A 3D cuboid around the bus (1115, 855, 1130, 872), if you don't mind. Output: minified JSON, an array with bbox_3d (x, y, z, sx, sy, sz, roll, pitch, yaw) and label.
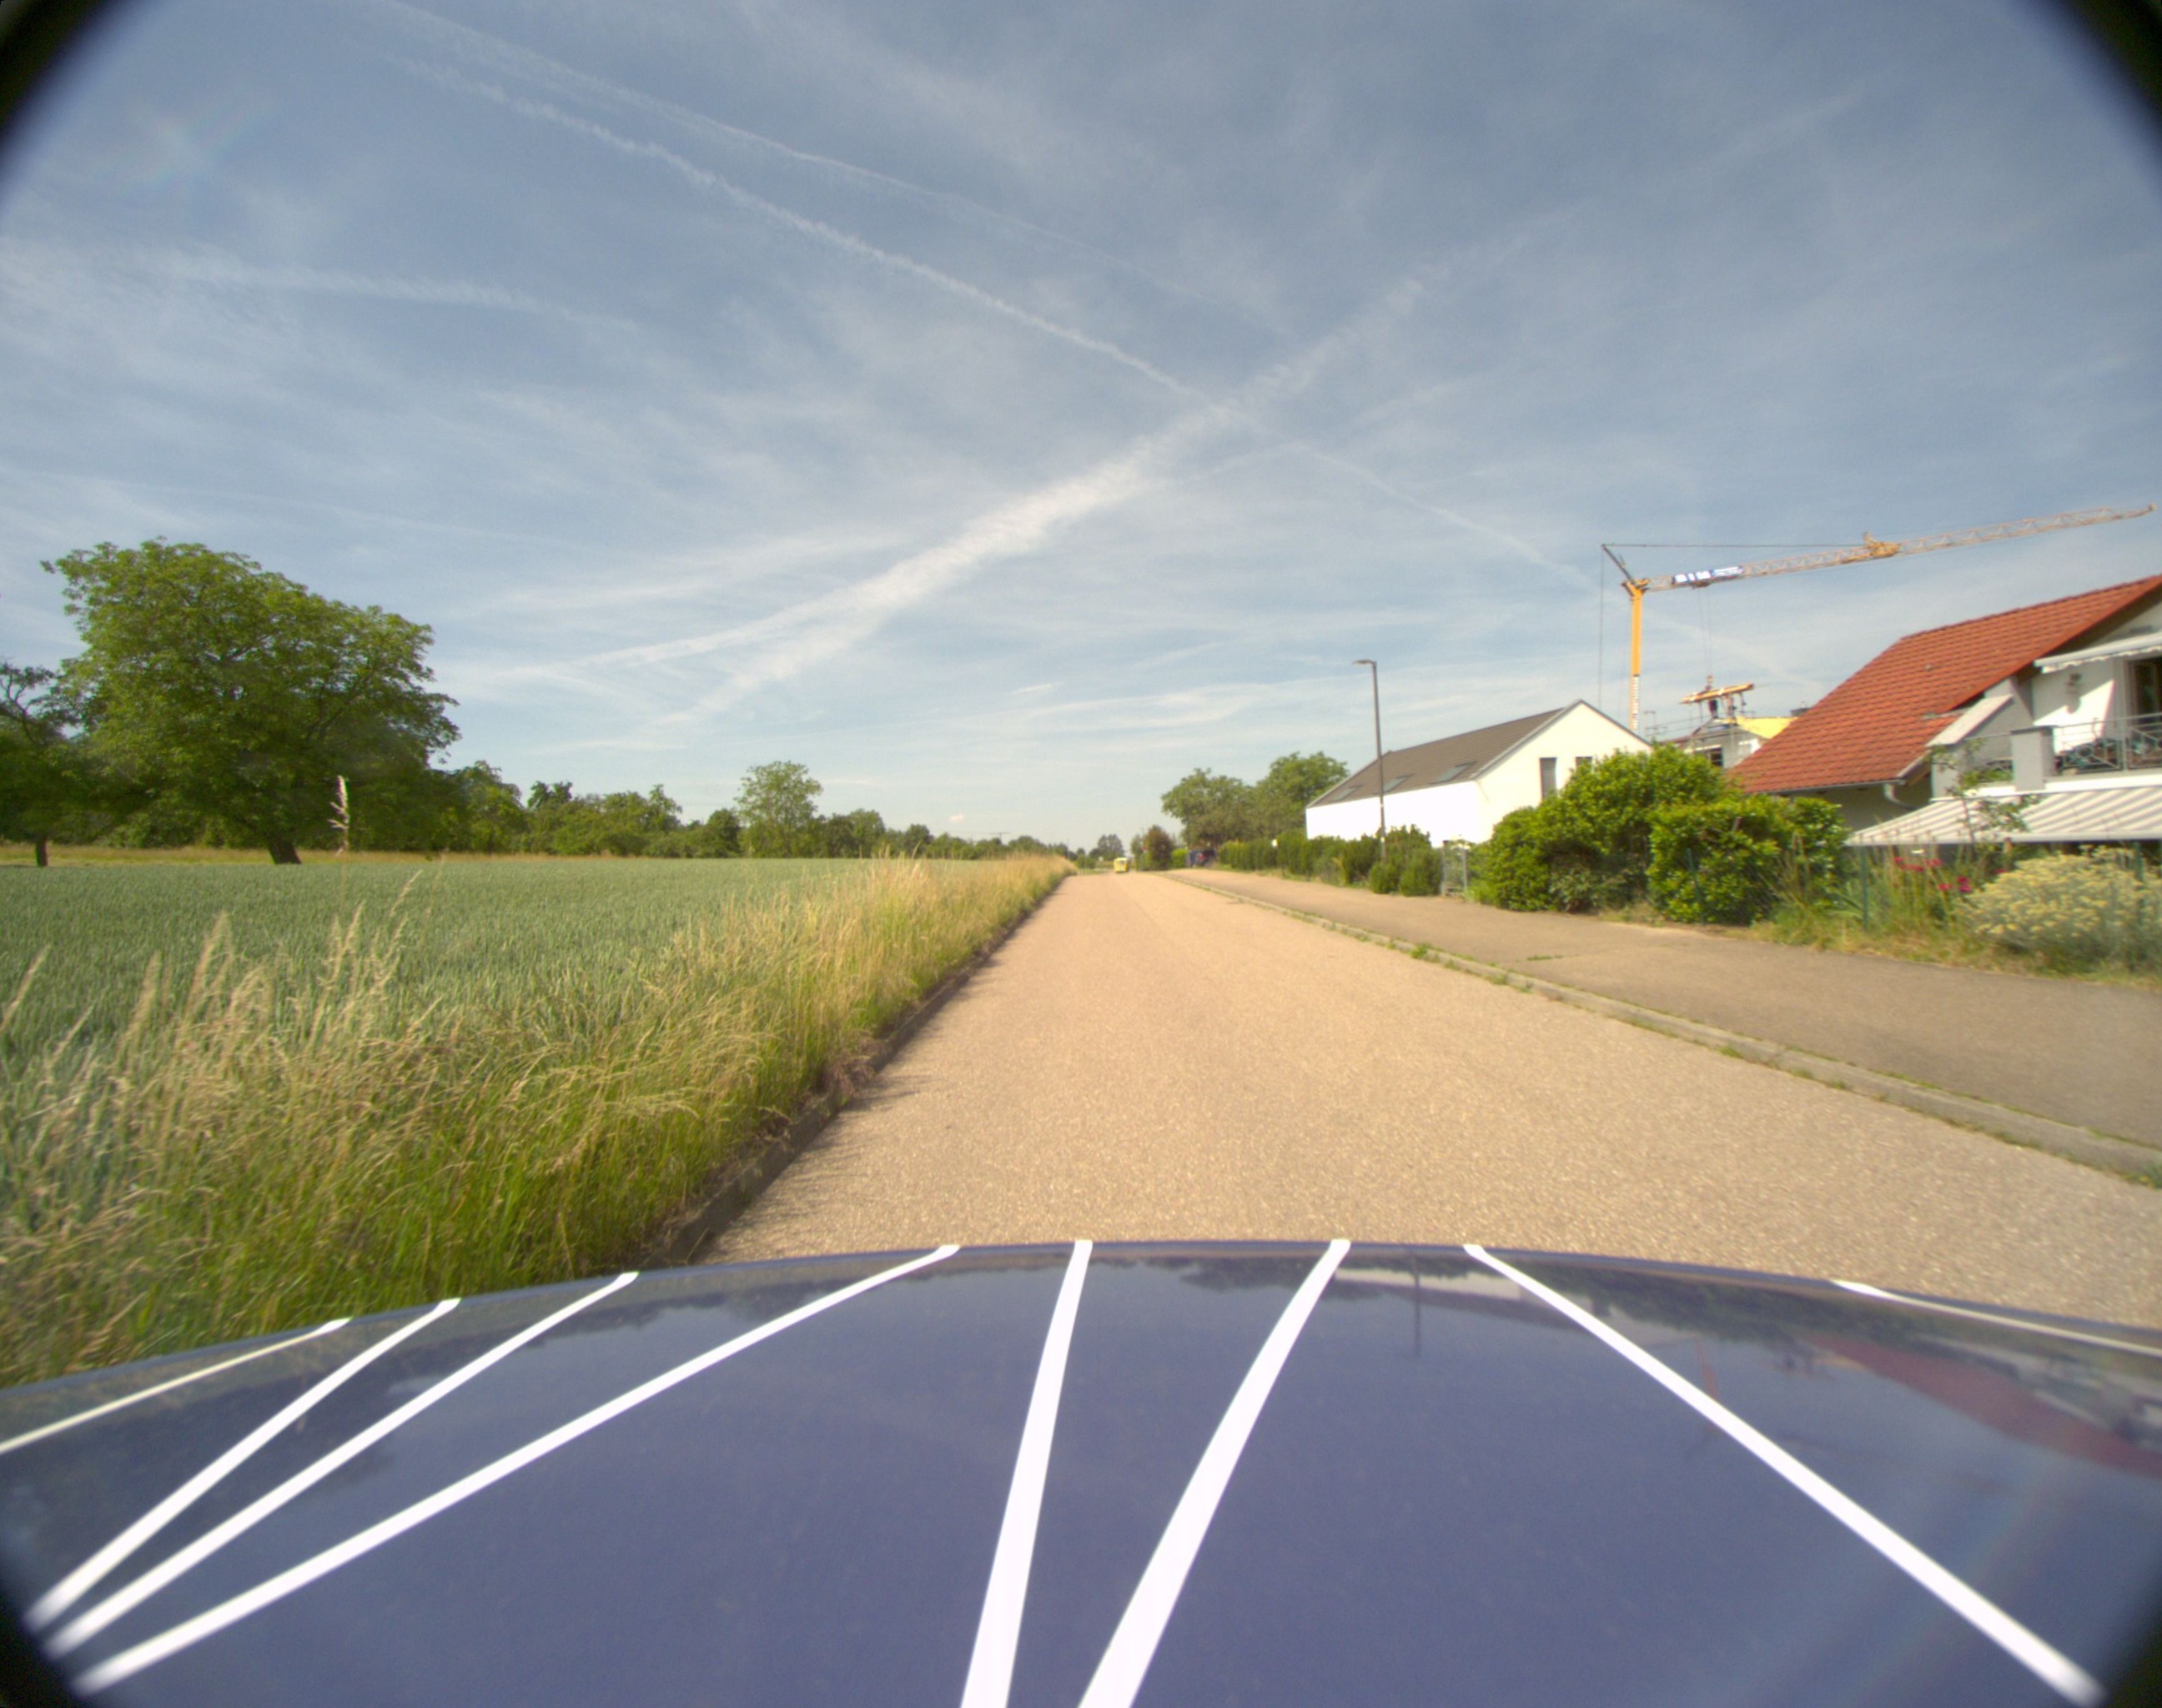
[{"bbox_3d":[9.372,2.047,169.740,3.066,3.557,9.456,-2,1,4],"label":"bus"}]

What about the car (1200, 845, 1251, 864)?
[{"bbox_3d":[11.728,0.038,62.009,3.885,1.314,1.801,-3,0,5],"label":"car"}]

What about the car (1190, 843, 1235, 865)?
[{"bbox_3d":[12.154,0.000,70.214,3.885,1.802,1.801,-3,0,5],"label":"car"}]
